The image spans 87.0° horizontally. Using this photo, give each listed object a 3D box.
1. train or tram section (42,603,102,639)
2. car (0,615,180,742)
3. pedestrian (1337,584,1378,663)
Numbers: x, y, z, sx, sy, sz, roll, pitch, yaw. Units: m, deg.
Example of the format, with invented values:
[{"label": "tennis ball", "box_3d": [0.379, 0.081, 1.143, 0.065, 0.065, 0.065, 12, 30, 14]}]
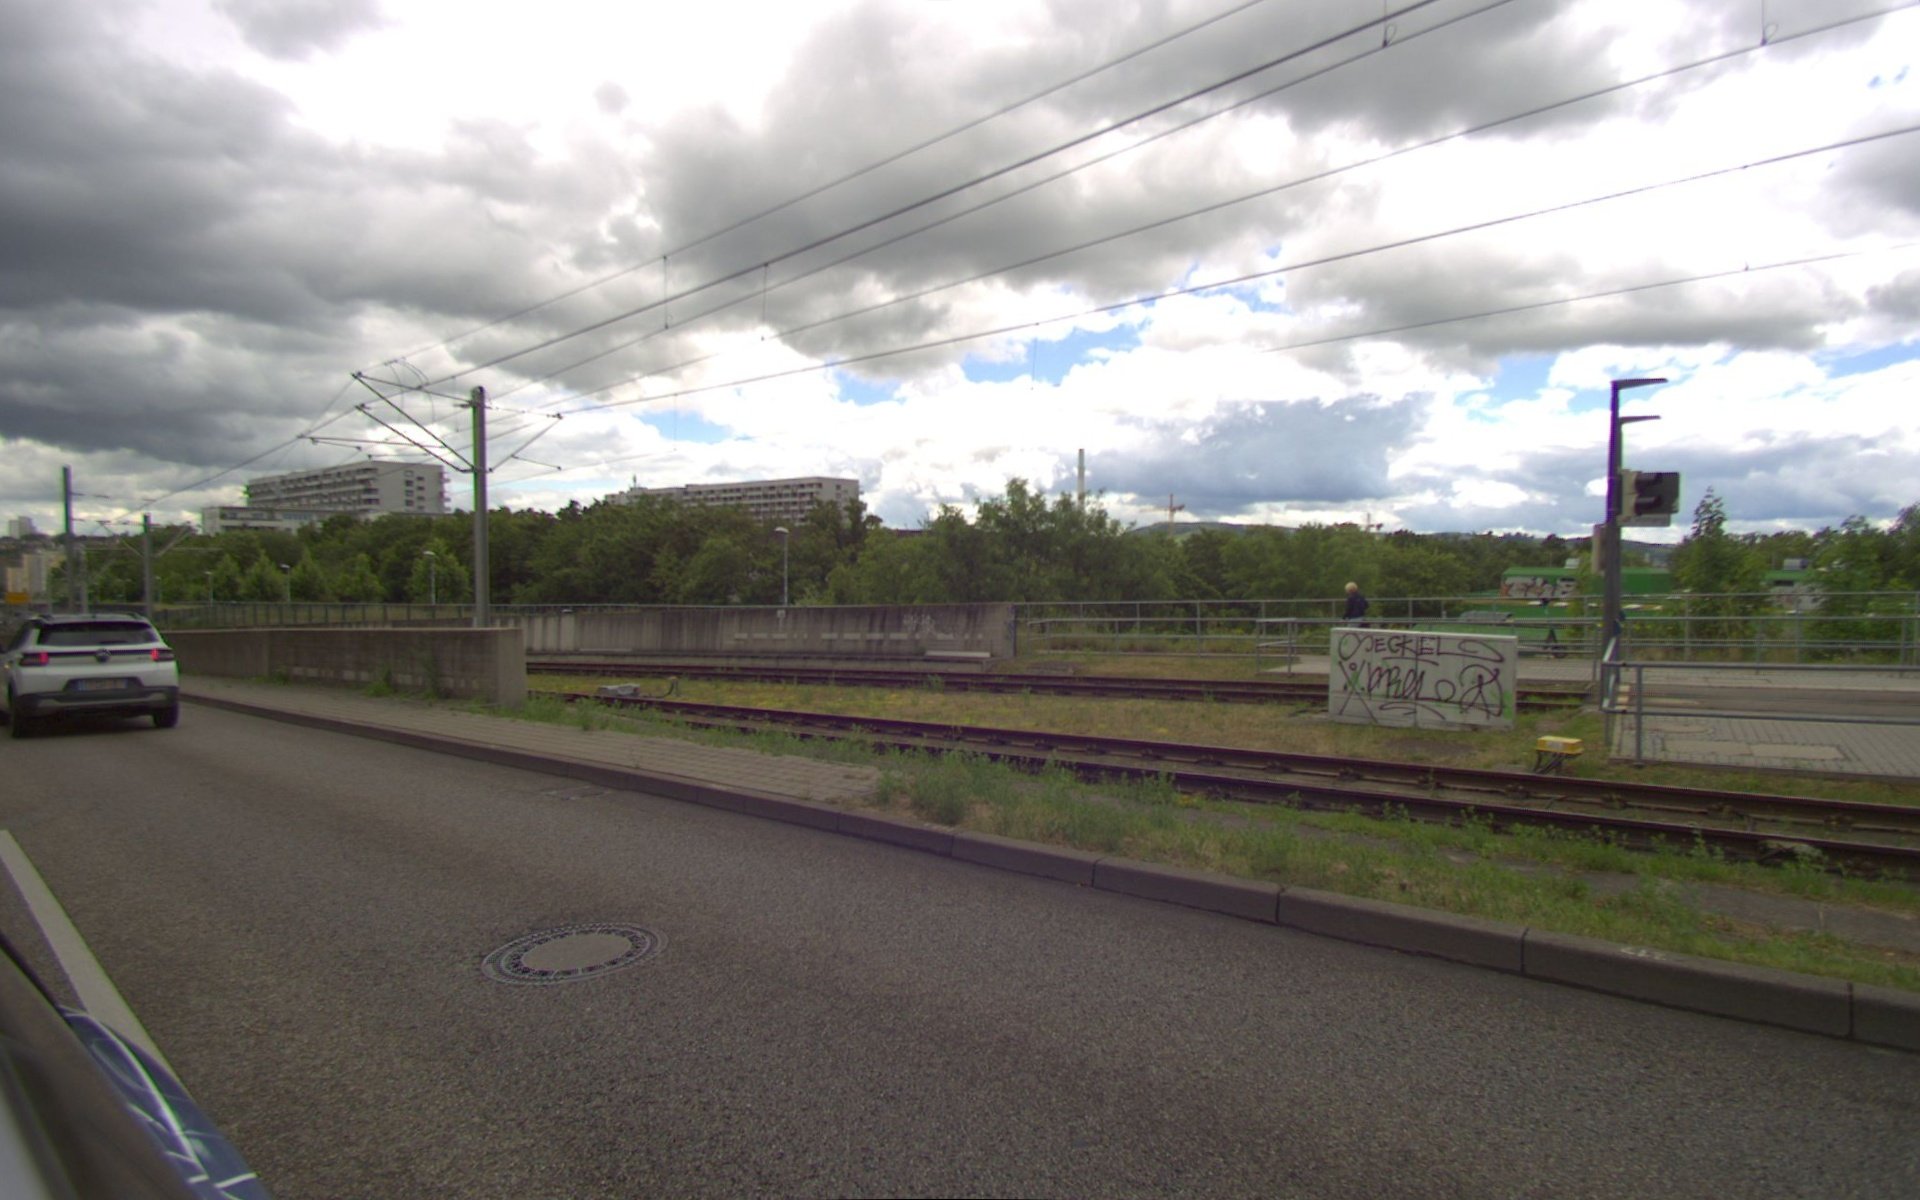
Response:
[{"label": "train or tram section", "box_3d": [-86.165, 2.066, 97.998, 18.477, 3.218, 2.750, -1, -1, 44]}, {"label": "car", "box_3d": [-12.463, 0.998, 14.257, 3.743, 1.533, 1.698, -1, -1, 42]}, {"label": "pedestrian", "box_3d": [8.345, 0.485, 21.237, 0.645, 1.637, 0.502, -1, -1, 42]}]
